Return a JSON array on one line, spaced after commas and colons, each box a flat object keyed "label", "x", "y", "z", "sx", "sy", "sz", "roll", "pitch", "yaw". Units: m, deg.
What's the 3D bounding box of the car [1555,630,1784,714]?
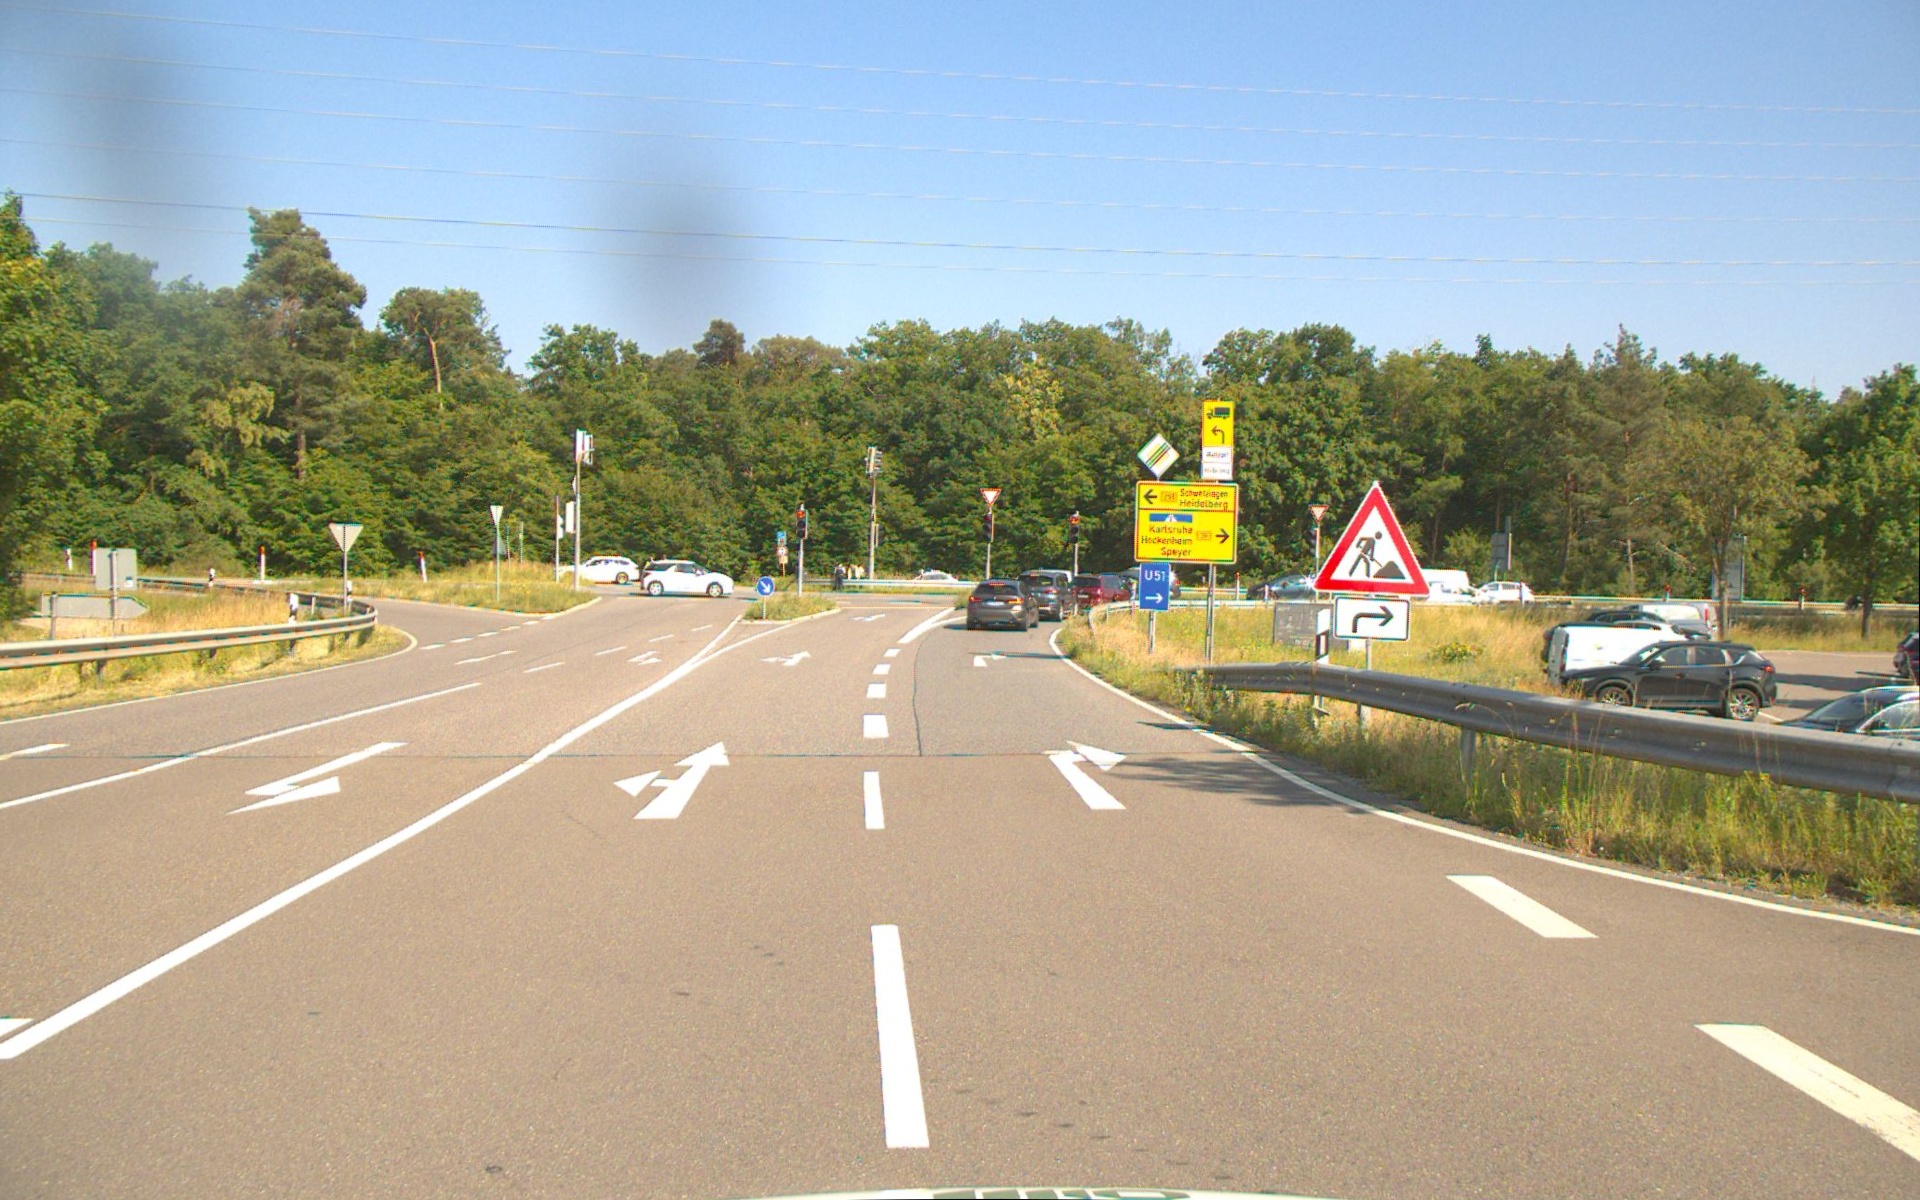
[{"label": "car", "x": 15.569, "y": 1.564, "z": 36.515, "sx": 4.319, "sy": 1.696, "sz": 1.903, "roll": 0, "pitch": 1, "yaw": 9}]

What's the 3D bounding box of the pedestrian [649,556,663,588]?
[{"label": "pedestrian", "x": -16.621, "y": -1.548, "z": 90.327, "sx": 0.743, "sy": 1.751, "sz": 0.677, "roll": 0, "pitch": 1, "yaw": -13}]

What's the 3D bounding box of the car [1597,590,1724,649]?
[{"label": "car", "x": 25.898, "y": 0.690, "z": 61.193, "sx": 3.922, "sy": 1.909, "sz": 1.884, "roll": 4, "pitch": 1, "yaw": 36}]

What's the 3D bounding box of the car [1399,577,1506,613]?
[{"label": "car", "x": 22.074, "y": -0.232, "z": 74.211, "sx": 4.151, "sy": 1.485, "sz": 1.995, "roll": -1, "pitch": 1, "yaw": -10}]

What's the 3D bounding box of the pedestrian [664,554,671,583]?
[{"label": "pedestrian", "x": -17.566, "y": -1.911, "z": 99.320, "sx": 0.400, "sy": 1.744, "sz": 0.452, "roll": -1, "pitch": 0, "yaw": -7}]

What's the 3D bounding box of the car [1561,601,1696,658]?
[{"label": "car", "x": 22.594, "y": 0.965, "z": 55.921, "sx": 3.915, "sy": 1.647, "sz": 1.887, "roll": 4, "pitch": 1, "yaw": 31}]

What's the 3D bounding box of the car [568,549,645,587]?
[{"label": "car", "x": -19.971, "y": -1.813, "z": 93.373, "sx": 3.936, "sy": 2.049, "sz": 1.782, "roll": -1, "pitch": 1, "yaw": -25}]

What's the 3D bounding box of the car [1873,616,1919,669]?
[{"label": "car", "x": 31.561, "y": 1.433, "z": 52.897, "sx": 3.908, "sy": 1.608, "sz": 1.787, "roll": 4, "pitch": 1, "yaw": 24}]

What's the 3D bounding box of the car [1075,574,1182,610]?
[{"label": "car", "x": 7.350, "y": -0.355, "z": 72.320, "sx": 4.285, "sy": 1.485, "sz": 1.995, "roll": -1, "pitch": 1, "yaw": -10}]

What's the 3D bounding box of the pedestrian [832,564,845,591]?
[{"label": "pedestrian", "x": -6.336, "y": -1.180, "z": 86.315, "sx": 0.512, "sy": 1.415, "sz": 0.514, "roll": -1, "pitch": 0, "yaw": 8}]

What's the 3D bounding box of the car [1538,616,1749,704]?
[{"label": "car", "x": 16.207, "y": 1.393, "z": 39.406, "sx": 4.262, "sy": 1.814, "sz": 1.903, "roll": 2, "pitch": 1, "yaw": 9}]

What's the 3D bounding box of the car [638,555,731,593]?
[{"label": "car", "x": -11.473, "y": -1.068, "z": 69.016, "sx": 3.763, "sy": 1.512, "sz": 1.886, "roll": 1, "pitch": 0, "yaw": -10}]

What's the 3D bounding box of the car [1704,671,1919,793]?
[{"label": "car", "x": 14.117, "y": 1.995, "z": 25.323, "sx": 4.557, "sy": 1.655, "sz": 2.000, "roll": 0, "pitch": 1, "yaw": -1}]

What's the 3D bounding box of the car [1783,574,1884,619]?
[{"label": "car", "x": 41.105, "y": -0.156, "z": 77.848, "sx": 3.913, "sy": 2.048, "sz": 1.797, "roll": 0, "pitch": 2, "yaw": -9}]

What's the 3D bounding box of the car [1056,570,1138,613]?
[{"label": "car", "x": 5.153, "y": -0.326, "z": 61.664, "sx": 1.764, "sy": 1.527, "sz": 3.997, "roll": 1, "pitch": 1, "yaw": 25}]

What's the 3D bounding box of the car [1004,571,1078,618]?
[{"label": "car", "x": 2.799, "y": -0.200, "z": 56.284, "sx": 1.761, "sy": 1.527, "sz": 4.003, "roll": 1, "pitch": 1, "yaw": 14}]

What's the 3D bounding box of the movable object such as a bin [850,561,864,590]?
[{"label": "movable object such as a bin", "x": -5.424, "y": -1.296, "z": 86.960, "sx": 0.589, "sy": 1.514, "sz": 0.732, "roll": -1, "pitch": 1, "yaw": 4}]

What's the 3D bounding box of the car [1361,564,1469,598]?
[{"label": "car", "x": 22.635, "y": -0.930, "z": 82.321, "sx": 4.792, "sy": 1.579, "sz": 1.996, "roll": -1, "pitch": 1, "yaw": -10}]

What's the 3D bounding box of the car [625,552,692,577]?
[{"label": "car", "x": -18.272, "y": -2.135, "z": 100.247, "sx": 3.914, "sy": 1.447, "sz": 1.792, "roll": -1, "pitch": 1, "yaw": -10}]

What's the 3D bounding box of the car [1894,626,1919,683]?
[{"label": "car", "x": 29.257, "y": 1.674, "z": 47.608, "sx": 3.908, "sy": 1.608, "sz": 1.890, "roll": 4, "pitch": 1, "yaw": 24}]

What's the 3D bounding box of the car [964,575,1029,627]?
[{"label": "car", "x": 1.125, "y": -0.007, "z": 48.886, "sx": 1.762, "sy": 1.422, "sz": 4.002, "roll": 2, "pitch": 1, "yaw": 3}]
